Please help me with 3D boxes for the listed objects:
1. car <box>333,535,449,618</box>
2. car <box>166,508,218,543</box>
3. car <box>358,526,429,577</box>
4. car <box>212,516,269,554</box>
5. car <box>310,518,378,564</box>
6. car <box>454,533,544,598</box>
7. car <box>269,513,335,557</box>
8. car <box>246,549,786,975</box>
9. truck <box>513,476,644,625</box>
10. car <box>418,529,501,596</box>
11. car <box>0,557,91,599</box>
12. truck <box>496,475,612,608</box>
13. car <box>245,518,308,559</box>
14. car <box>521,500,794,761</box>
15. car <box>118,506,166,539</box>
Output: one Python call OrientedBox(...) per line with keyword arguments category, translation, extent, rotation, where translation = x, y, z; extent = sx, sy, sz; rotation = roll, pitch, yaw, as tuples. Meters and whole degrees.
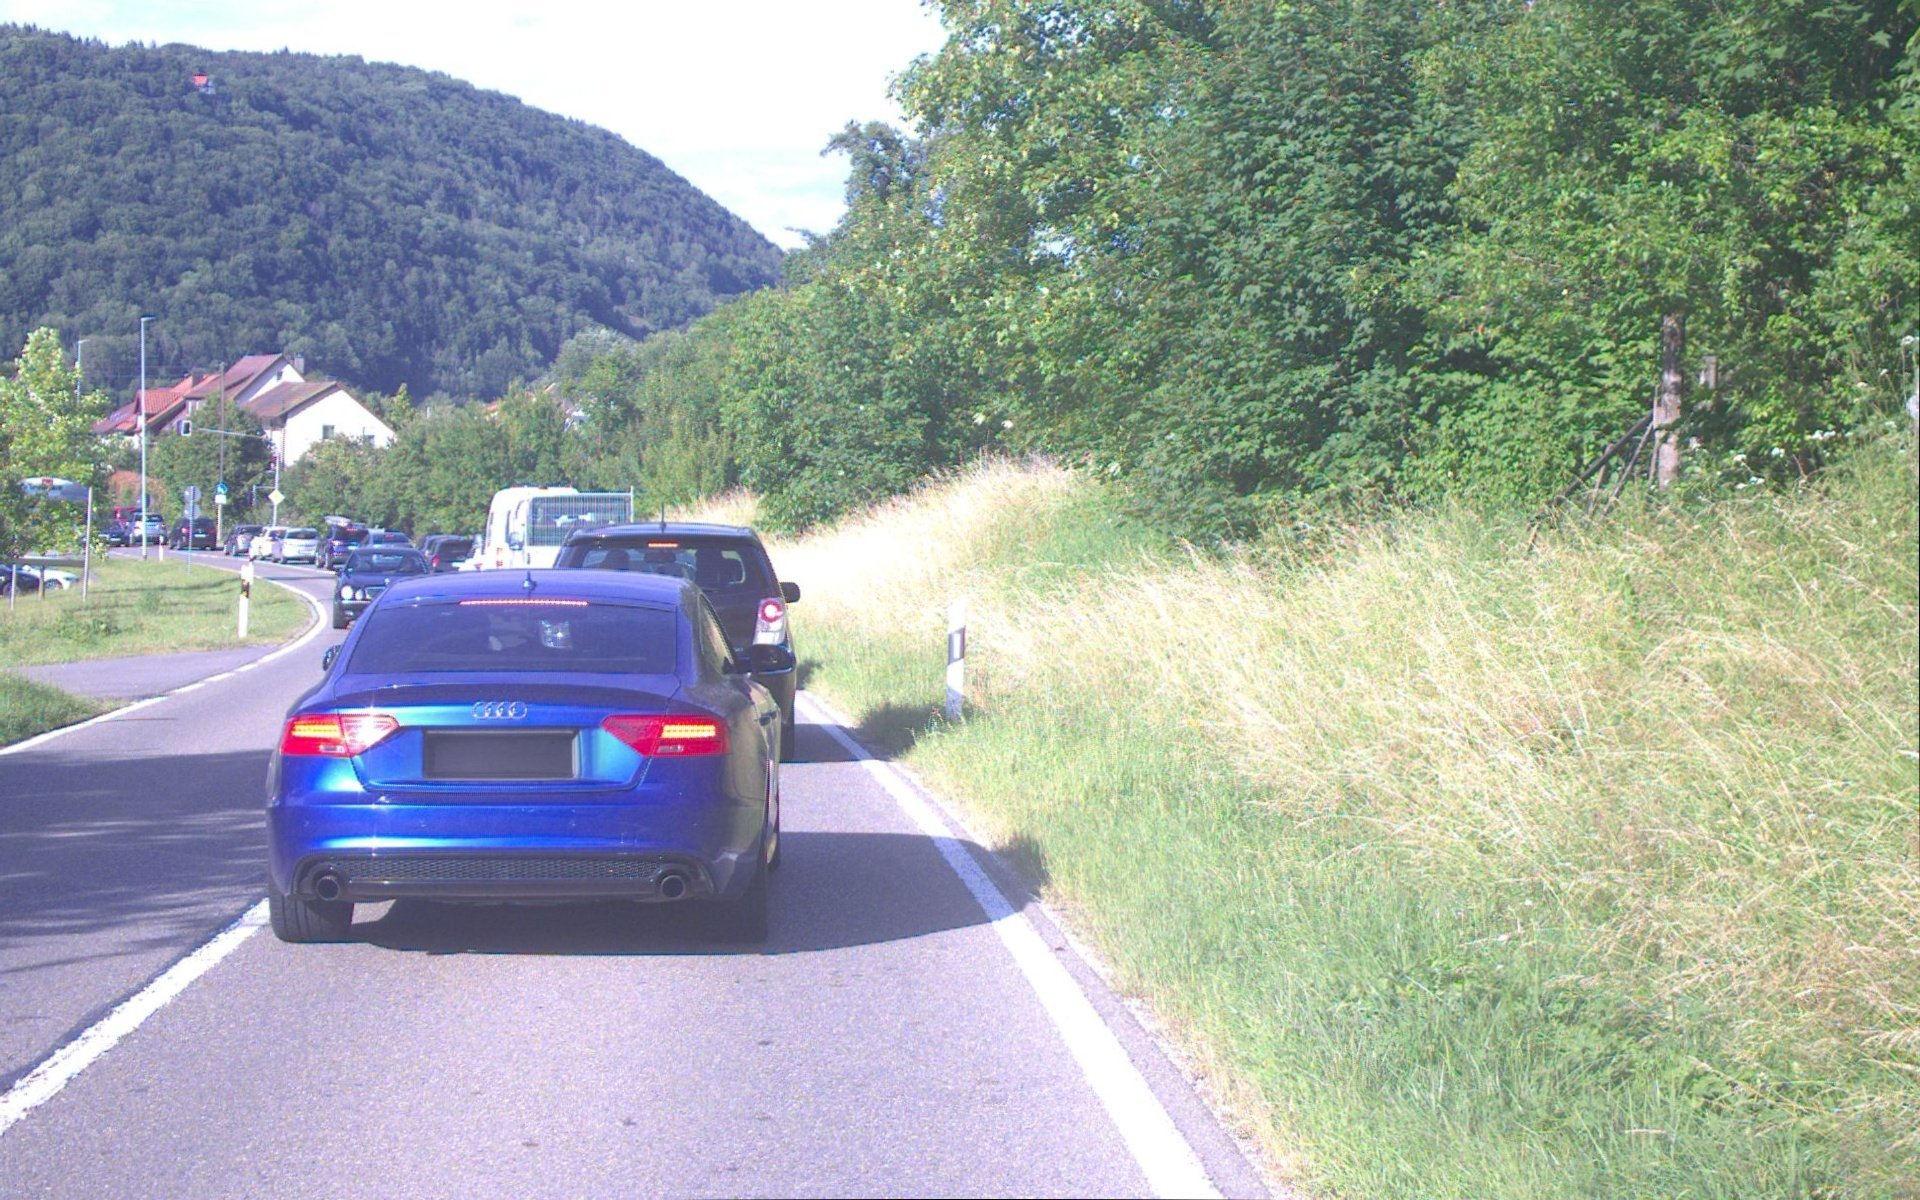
OrientedBox(category="car", translation=(-9.676, -0.409, 58.656), extent=(1.594, 1.349, 4.204), rotation=(1, 1, -5))
OrientedBox(category="car", translation=(-38.291, -3.699, 171.431), extent=(1.845, 1.706, 4.001), rotation=(1, 1, -23))
OrientedBox(category="car", translation=(-19.745, -1.686, 119.660), extent=(1.845, 1.706, 4.001), rotation=(1, 1, -18))
OrientedBox(category="car", translation=(-33.173, -2.986, 158.458), extent=(1.845, 1.706, 4.001), rotation=(1, 1, -23))
OrientedBox(category="car", translation=(-23.224, -2.214, 129.454), extent=(1.845, 1.706, 4.001), rotation=(1, 1, -20))
OrientedBox(category="car", translation=(-11.077, -0.832, 82.416), extent=(1.845, 1.477, 4.001), rotation=(1, 1, -11))
OrientedBox(category="car", translation=(-26.622, -2.618, 139.086), extent=(1.845, 1.706, 4.001), rotation=(1, 1, -22))
OrientedBox(category="car", translation=(-1.602, 0.530, 13.589), extent=(1.754, 1.425, 3.847), rotation=(1, 1, -2))
OrientedBox(category="truck", translation=(-6.931, -0.890, 62.789), extent=(2.229, 2.561, 6.105), rotation=(1, 1, -6))
OrientedBox(category="car", translation=(-13.356, -1.004, 91.591), extent=(1.845, 1.706, 4.001), rotation=(1, 1, -13))
OrientedBox(category="car", translation=(-35.551, -0.848, 132.111), extent=(3.986, 1.573, 1.753), rotation=(1, 1, -7))
OrientedBox(category="truck", translation=(-8.318, -1.182, 70.535), extent=(2.229, 2.561, 6.709), rotation=(1, 1, -7))
OrientedBox(category="car", translation=(-29.234, -2.605, 146.938), extent=(1.845, 1.706, 4.001), rotation=(1, 1, -23))
OrientedBox(category="car", translation=(-2.101, 0.176, 24.280), extent=(1.754, 1.675, 3.847), rotation=(1, 1, -4))
OrientedBox(category="car", translation=(-44.023, -4.163, 184.961), extent=(1.845, 1.706, 4.001), rotation=(1, 1, -23))
